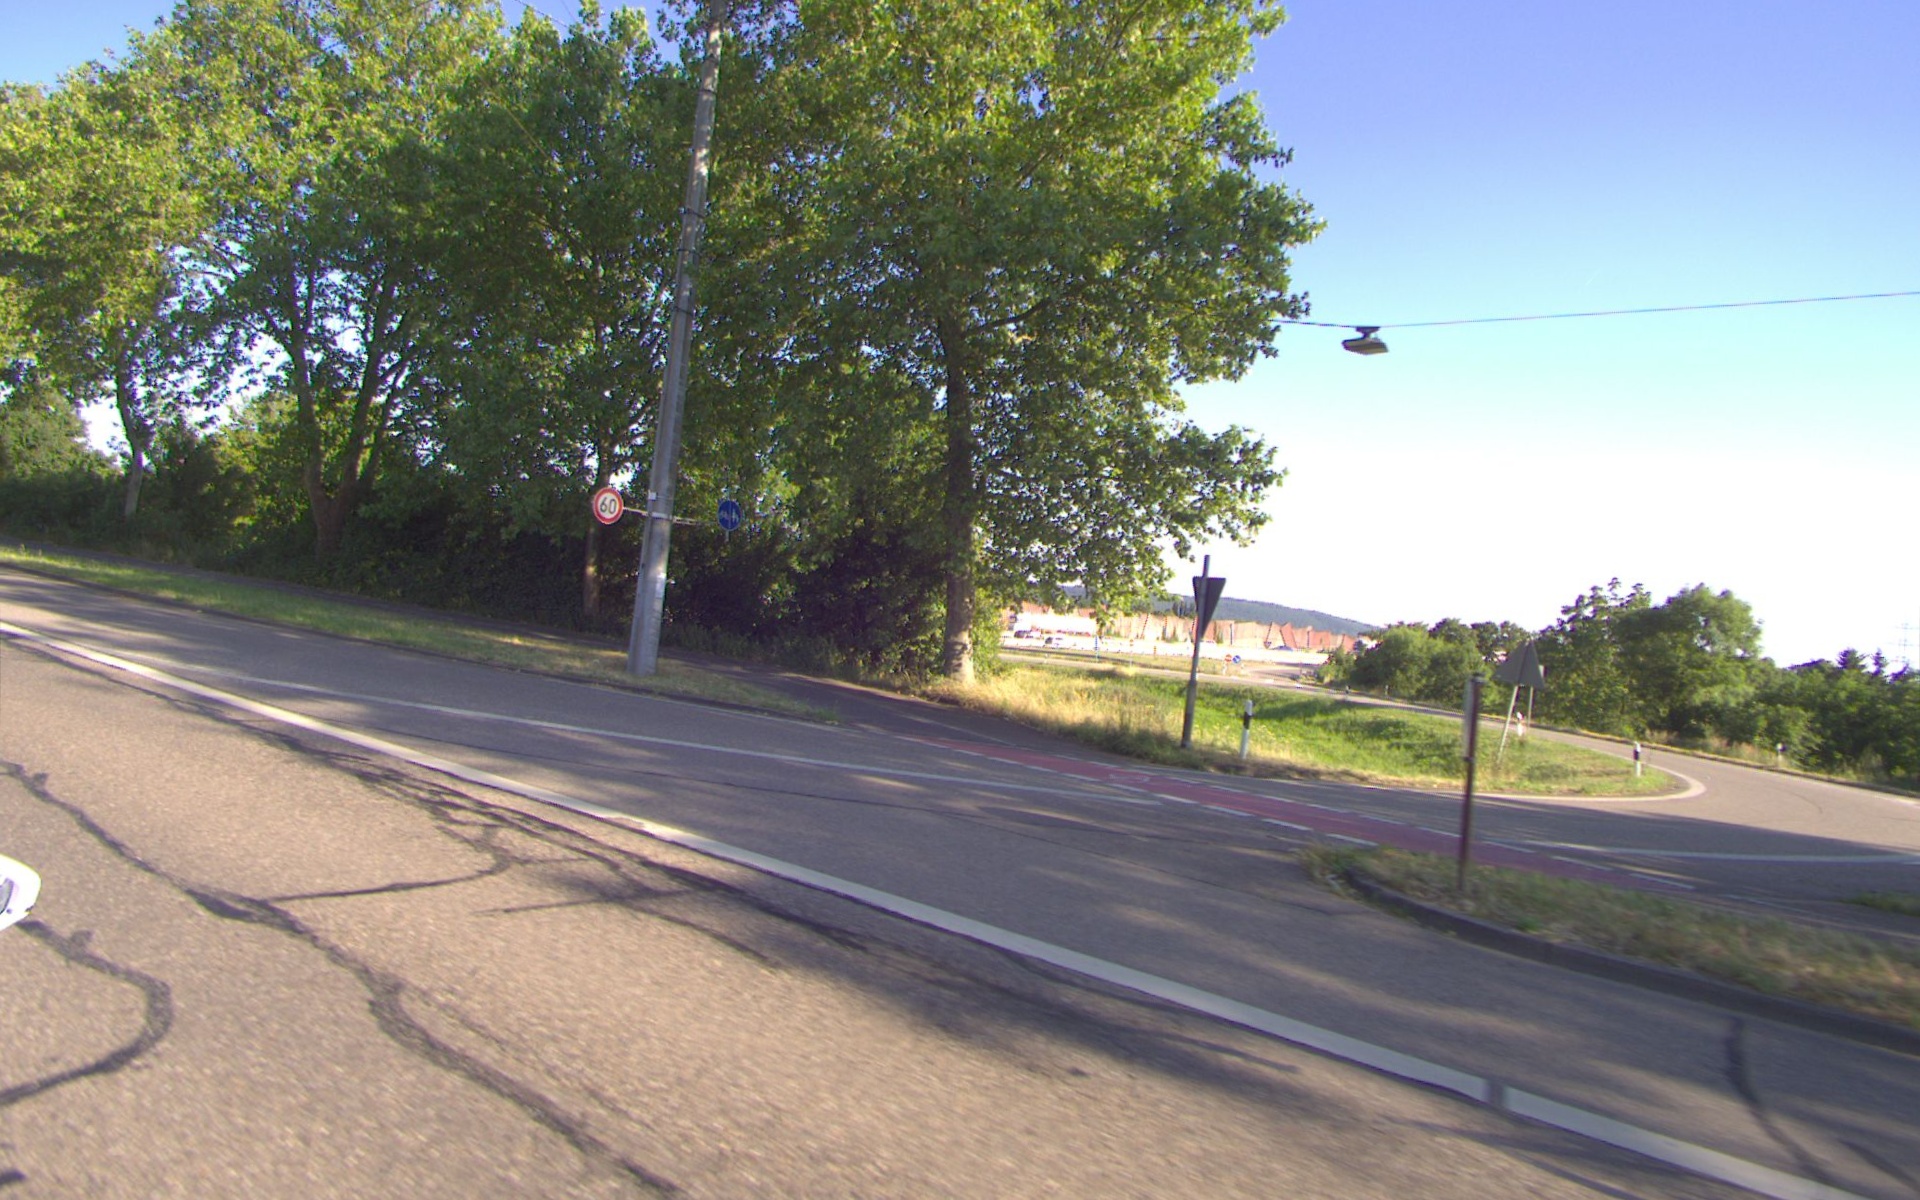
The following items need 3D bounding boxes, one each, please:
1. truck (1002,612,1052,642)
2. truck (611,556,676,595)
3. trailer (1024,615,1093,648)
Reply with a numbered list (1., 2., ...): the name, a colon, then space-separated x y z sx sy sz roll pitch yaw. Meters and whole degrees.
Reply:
1. truck: 11.045 4.438 164.888 7.258 3.882 3.114 9 -2 -27
2. truck: -41.385 -3.149 131.474 7.261 3.882 3.112 9 -2 -28
3. trailer: 16.502 5.272 167.809 11.271 3.882 3.114 9 -3 -27
